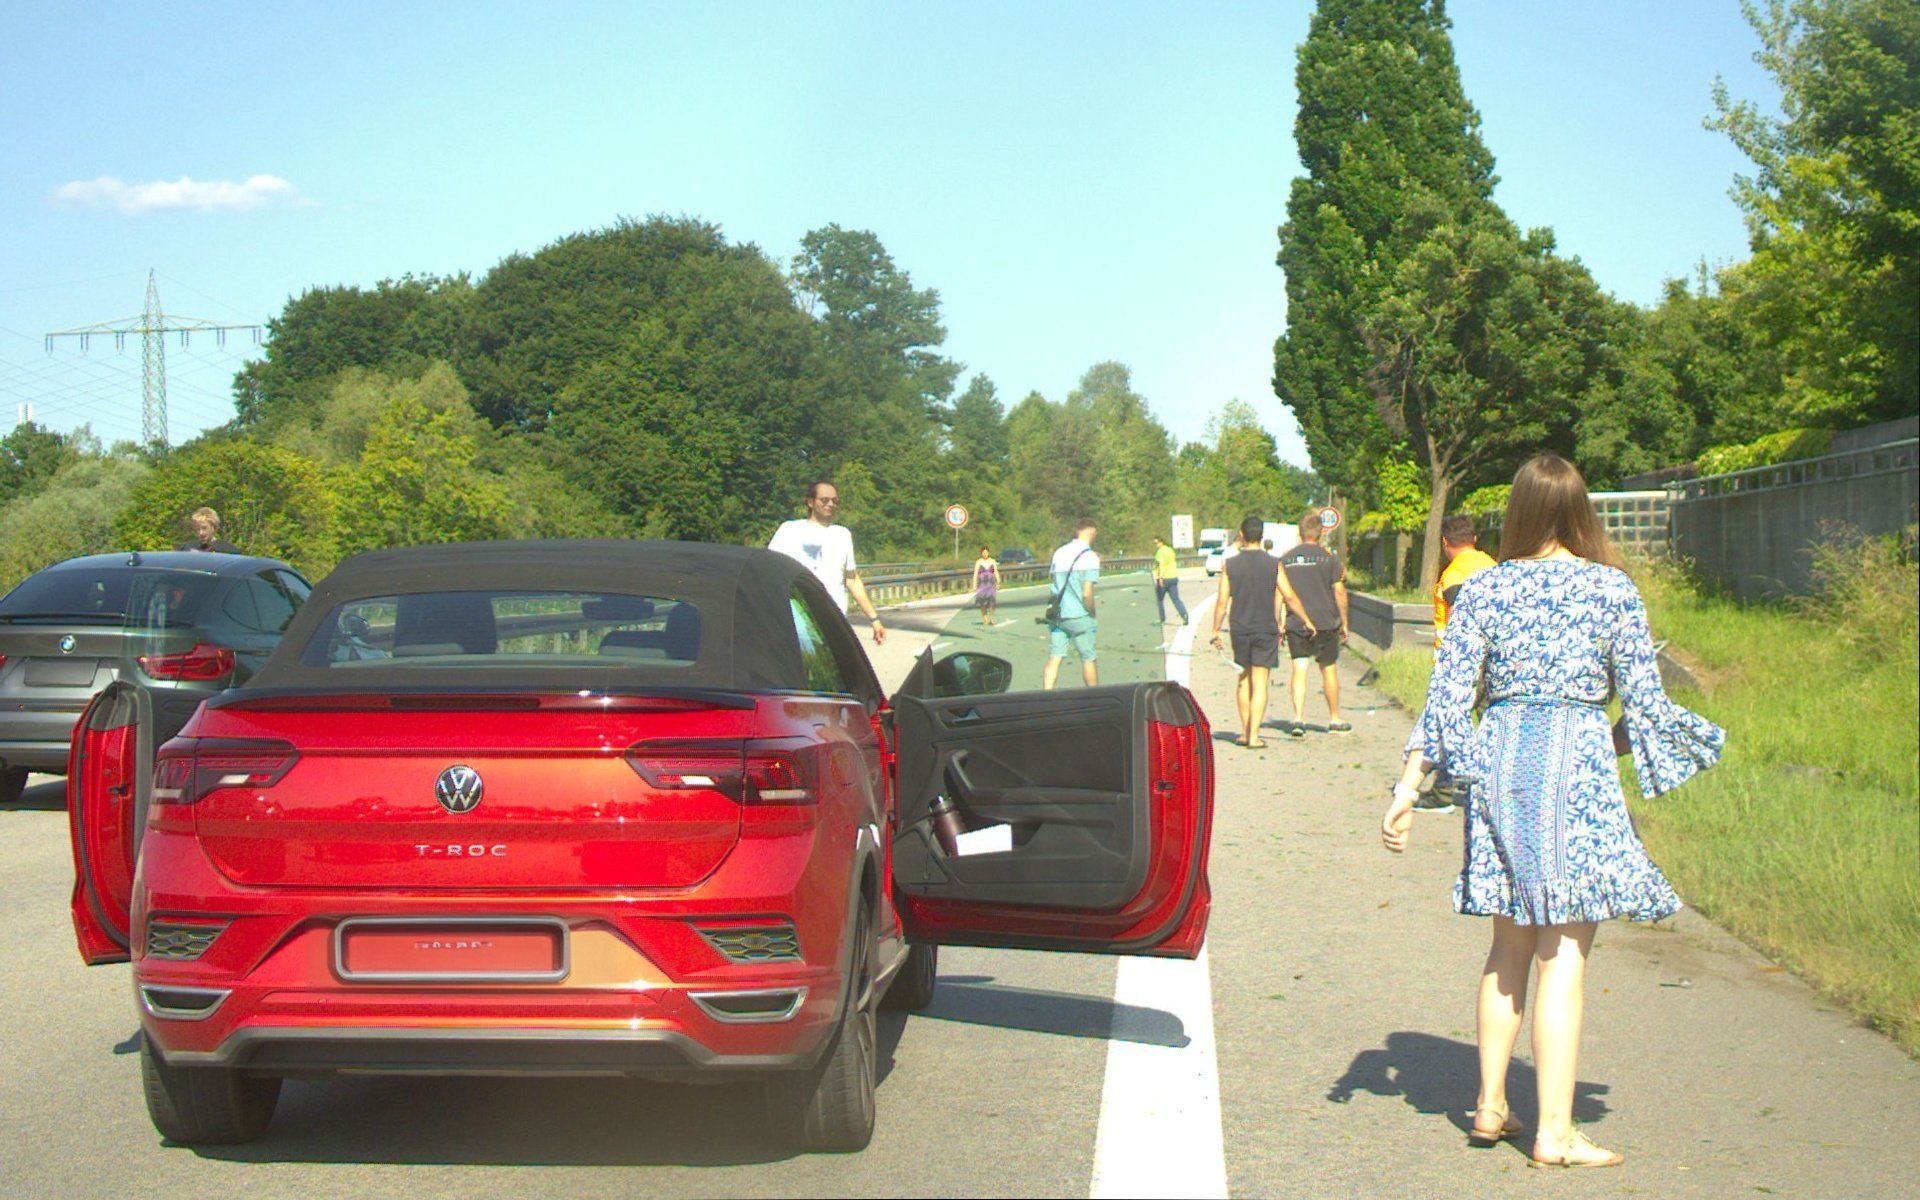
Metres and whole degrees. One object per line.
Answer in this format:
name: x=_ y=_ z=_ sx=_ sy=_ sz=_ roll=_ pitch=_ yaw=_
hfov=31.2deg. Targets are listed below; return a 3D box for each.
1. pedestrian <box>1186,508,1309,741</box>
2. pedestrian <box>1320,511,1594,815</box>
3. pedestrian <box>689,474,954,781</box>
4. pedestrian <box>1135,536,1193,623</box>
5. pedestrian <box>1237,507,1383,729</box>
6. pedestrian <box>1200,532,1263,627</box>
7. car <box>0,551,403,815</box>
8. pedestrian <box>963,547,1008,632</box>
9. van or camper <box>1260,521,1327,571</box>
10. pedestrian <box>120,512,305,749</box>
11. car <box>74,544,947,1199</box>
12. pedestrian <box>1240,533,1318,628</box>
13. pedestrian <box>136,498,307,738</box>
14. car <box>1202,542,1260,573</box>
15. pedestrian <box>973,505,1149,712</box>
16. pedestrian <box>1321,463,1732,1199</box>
pedestrian: x=2.164 y=0.177 z=25.942 sx=0.895 sy=1.719 sz=0.754 roll=0 pitch=0 yaw=3
pedestrian: x=2.808 y=0.337 z=19.363 sx=1.276 sy=1.648 sz=0.959 roll=-1 pitch=1 yaw=25
pedestrian: x=-0.897 y=0.160 z=22.205 sx=1.256 sy=1.906 sz=1.106 roll=0 pitch=1 yaw=41
pedestrian: x=3.998 y=-0.398 z=67.444 sx=1.014 sy=1.683 sz=1.059 roll=1 pitch=0 yaw=9
pedestrian: x=2.821 y=0.137 z=27.700 sx=0.812 sy=1.753 sz=0.828 roll=0 pitch=1 yaw=-36
pedestrian: x=4.904 y=-0.374 z=62.105 sx=1.114 sy=1.683 sz=0.973 roll=0 pitch=0 yaw=4
car: x=-4.731 y=0.425 z=21.116 sx=1.695 sy=1.421 sz=4.333 roll=0 pitch=1 yaw=3
pedestrian: x=0.507 y=-0.206 z=68.772 sx=0.792 sy=1.683 sz=0.792 roll=1 pitch=0 yaw=8
van or camper: x=15.629 y=-2.533 z=161.014 sx=1.996 sy=2.308 sz=4.465 roll=1 pitch=1 yaw=21
pedestrian: x=-5.726 y=0.220 z=26.402 sx=1.115 sy=1.757 sz=1.044 roll=-1 pitch=1 yaw=3
car: x=-1.032 y=0.590 z=9.878 sx=1.732 sy=1.482 sz=4.210 roll=0 pitch=1 yaw=3
pedestrian: x=5.732 y=-0.355 z=61.749 sx=1.007 sy=1.683 sz=0.999 roll=0 pitch=1 yaw=-26
pedestrian: x=-5.918 y=0.134 z=27.608 sx=1.065 sy=1.876 sz=1.093 roll=-1 pitch=1 yaw=3
car: x=13.263 y=-2.069 z=168.038 sx=1.734 sy=1.482 sz=4.206 roll=1 pitch=1 yaw=20
pedestrian: x=0.885 y=0.068 z=30.354 sx=1.088 sy=1.782 sz=1.107 roll=0 pitch=1 yaw=-35
pedestrian: x=1.398 y=0.532 z=8.364 sx=0.890 sy=1.689 sz=1.128 roll=-1 pitch=1 yaw=12
